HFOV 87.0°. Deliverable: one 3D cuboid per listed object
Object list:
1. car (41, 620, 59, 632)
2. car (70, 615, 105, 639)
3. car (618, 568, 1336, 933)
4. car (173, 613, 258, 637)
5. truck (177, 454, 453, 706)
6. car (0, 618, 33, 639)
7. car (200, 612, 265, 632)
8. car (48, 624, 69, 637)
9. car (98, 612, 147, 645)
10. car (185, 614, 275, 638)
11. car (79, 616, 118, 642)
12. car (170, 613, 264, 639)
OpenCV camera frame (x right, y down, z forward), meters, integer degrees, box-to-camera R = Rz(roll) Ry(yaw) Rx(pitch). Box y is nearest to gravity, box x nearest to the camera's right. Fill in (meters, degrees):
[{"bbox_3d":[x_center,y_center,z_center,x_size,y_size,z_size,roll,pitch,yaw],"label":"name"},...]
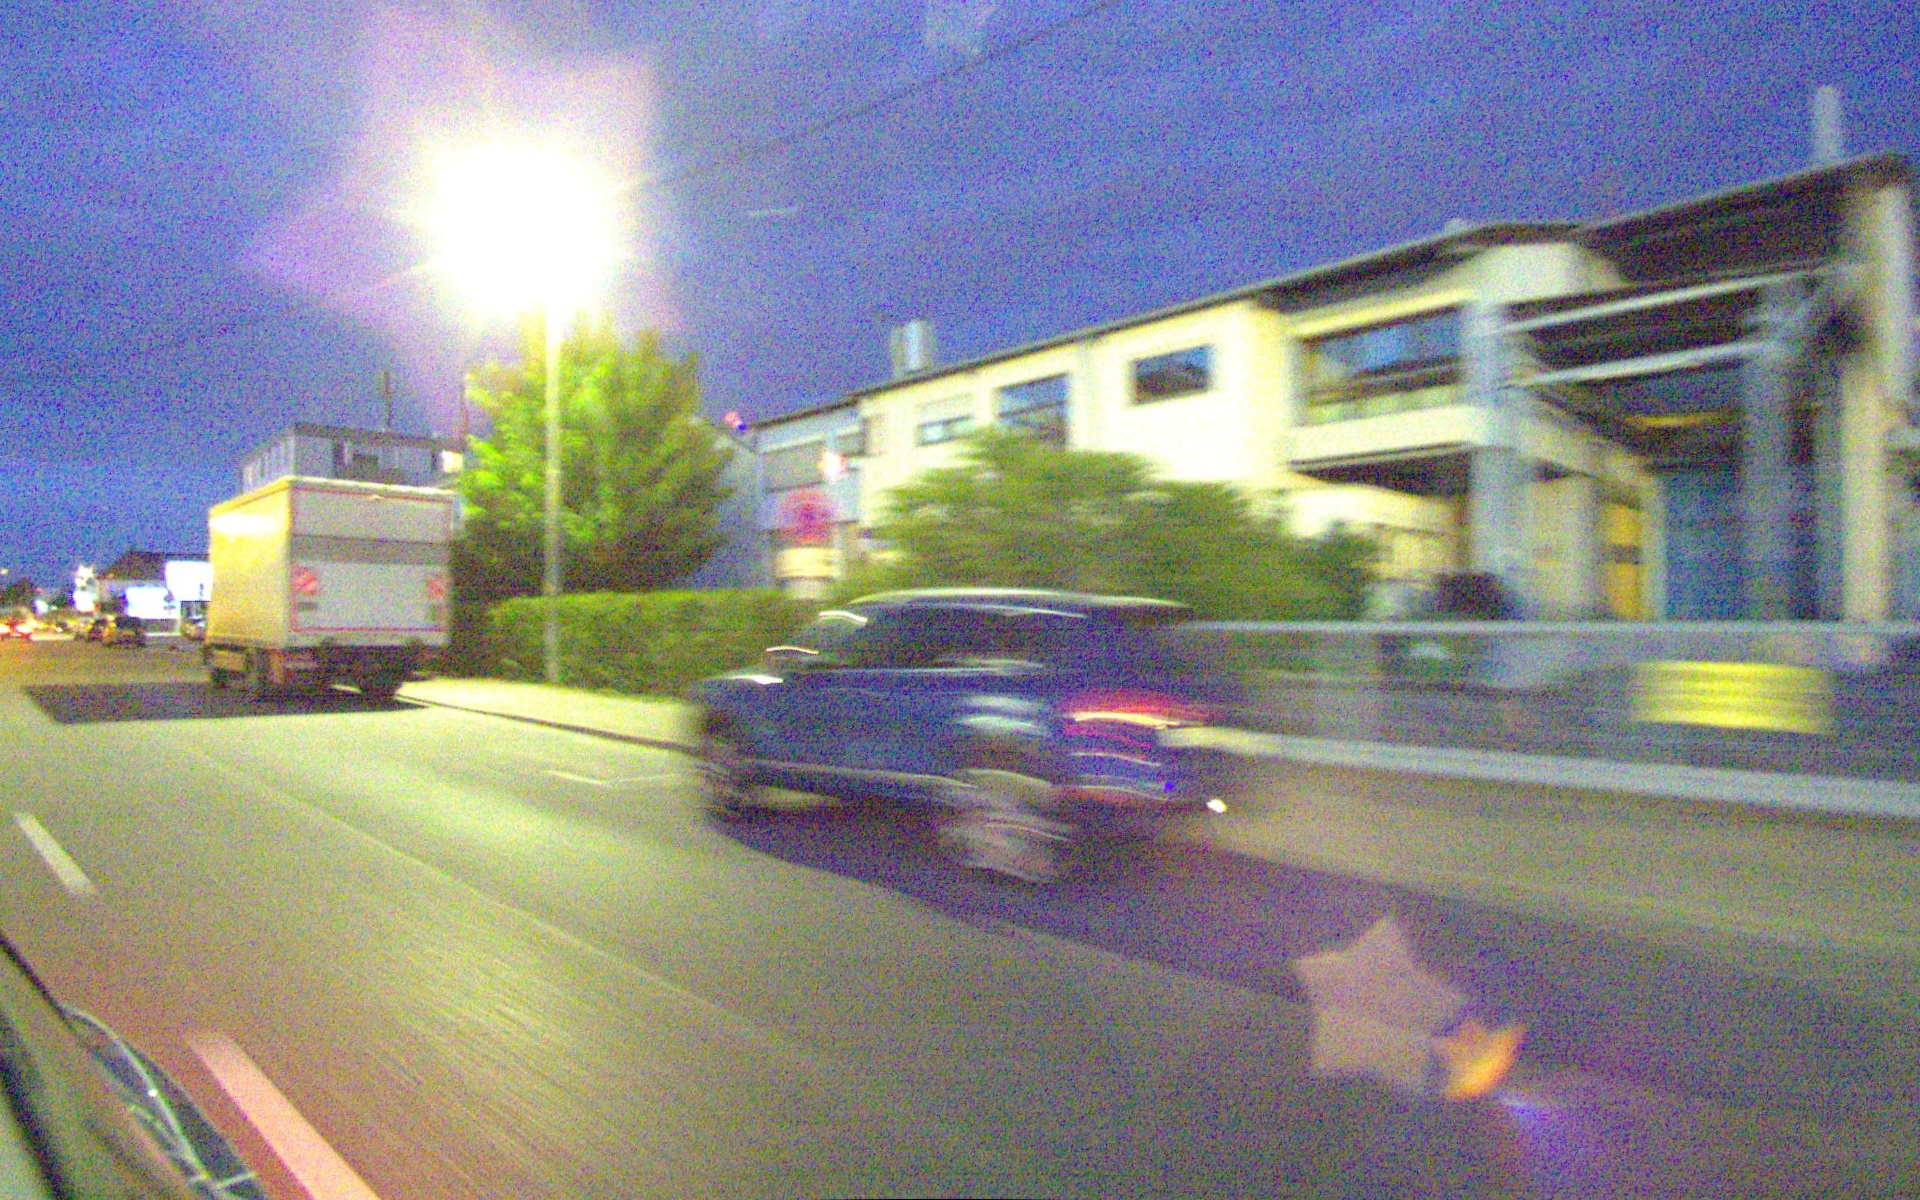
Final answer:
[{"bbox_3d":[-116.324,3.316,129.325,1.666,1.375,3.883,-1,0,-43],"label":"car"},{"bbox_3d":[-66.638,2.055,77.267,1.783,1.812,4.883,1,-2,-43],"label":"car"},{"bbox_3d":[-0.248,0.760,7.274,5.197,1.730,1.923,-1,-2,42],"label":"car"},{"bbox_3d":[-51.249,1.721,69.774,1.986,1.572,4.382,-1,-1,22],"label":"car"},{"bbox_3d":[-13.480,-0.253,20.640,9.564,4.064,2.715,-1,-1,45],"label":"truck"},{"bbox_3d":[-66.751,1.982,71.422,1.836,1.431,4.003,1,-1,-44],"label":"car"},{"bbox_3d":[-61.914,1.848,86.160,4.346,1.666,1.925,0,-1,-41],"label":"car"},{"bbox_3d":[-102.901,3.470,115.530,1.735,1.401,4.314,1,-2,-42],"label":"car"},{"bbox_3d":[-48.685,1.649,58.801,1.792,1.863,4.417,1,-1,-45],"label":"car"},{"bbox_3d":[-45.753,1.624,63.542,1.778,1.451,4.389,0,-1,17],"label":"car"},{"bbox_3d":[-59.178,1.961,69.503,1.923,1.701,4.822,1,-2,-41],"label":"car"},{"bbox_3d":[-47.874,1.654,65.357,1.983,1.563,4.645,0,-1,17],"label":"car"}]
